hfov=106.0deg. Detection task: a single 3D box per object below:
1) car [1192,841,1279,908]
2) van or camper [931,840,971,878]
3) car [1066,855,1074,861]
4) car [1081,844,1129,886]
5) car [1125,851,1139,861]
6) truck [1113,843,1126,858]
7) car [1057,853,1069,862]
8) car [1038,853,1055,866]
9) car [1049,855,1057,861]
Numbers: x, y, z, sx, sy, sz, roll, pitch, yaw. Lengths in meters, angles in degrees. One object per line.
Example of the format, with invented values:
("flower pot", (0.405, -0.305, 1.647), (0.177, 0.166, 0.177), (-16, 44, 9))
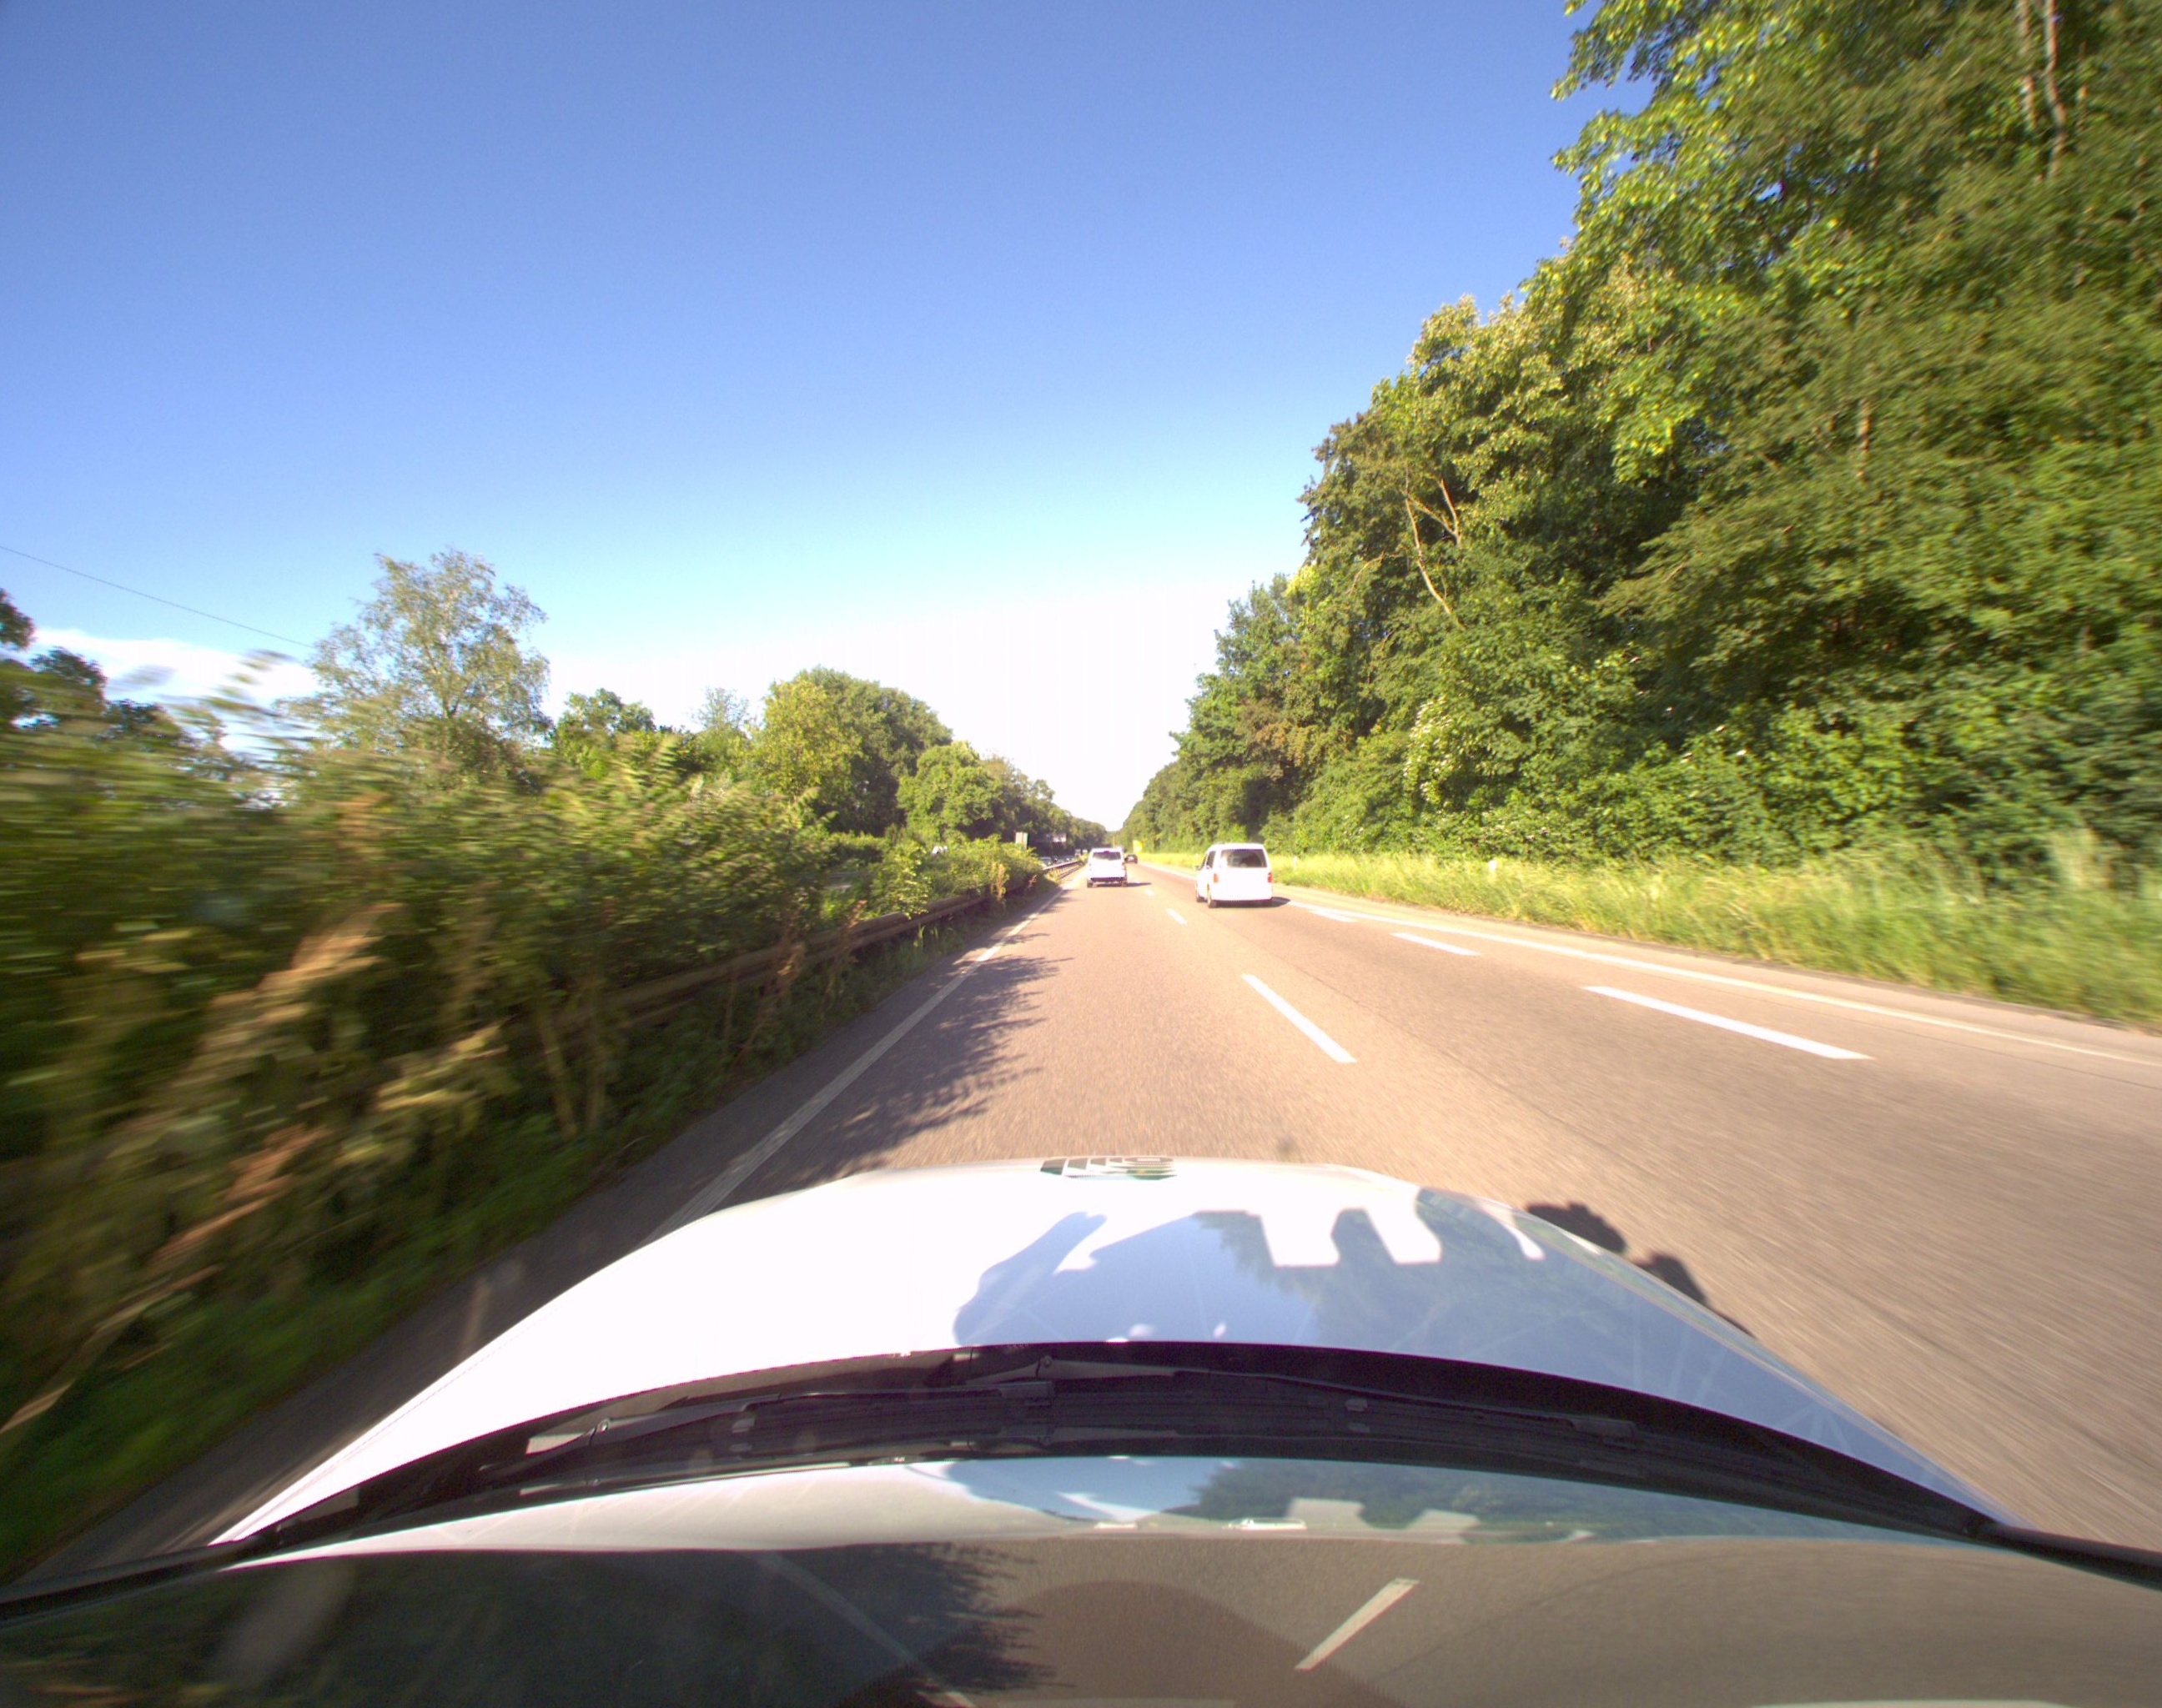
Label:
("car", (4.419, 0.527, 23.988), (1.856, 1.770, 4.472), (-1, 0, 2))
("van or camper", (-10.110, 0.355, 63.601), (1.986, 2.722, 5.256), (-2, 0, 2))
("car", (-2.593, 0.936, 197.599), (1.829, 1.357, 4.476), (-1, 0, 1))
("car", (1.084, 0.494, 38.237), (2.079, 1.828, 3.999), (-1, 0, 0))
("car", (7.720, 0.321, 123.379), (1.986, 1.398, 4.001), (-1, 0, 1))
("truck", (11.203, -1.061, 239.549), (3.483, 4.172, 8.865), (-2, 0, 2))
("car", (-3.334, 0.684, 150.143), (1.870, 1.540, 4.466), (-2, 0, 1))
("car", (-4.559, 0.711, 109.081), (1.953, 1.540, 4.466), (-2, 0, 1))
("car", (-6.607, 0.978, 192.879), (1.712, 1.445, 4.229), (-2, 0, 1))
